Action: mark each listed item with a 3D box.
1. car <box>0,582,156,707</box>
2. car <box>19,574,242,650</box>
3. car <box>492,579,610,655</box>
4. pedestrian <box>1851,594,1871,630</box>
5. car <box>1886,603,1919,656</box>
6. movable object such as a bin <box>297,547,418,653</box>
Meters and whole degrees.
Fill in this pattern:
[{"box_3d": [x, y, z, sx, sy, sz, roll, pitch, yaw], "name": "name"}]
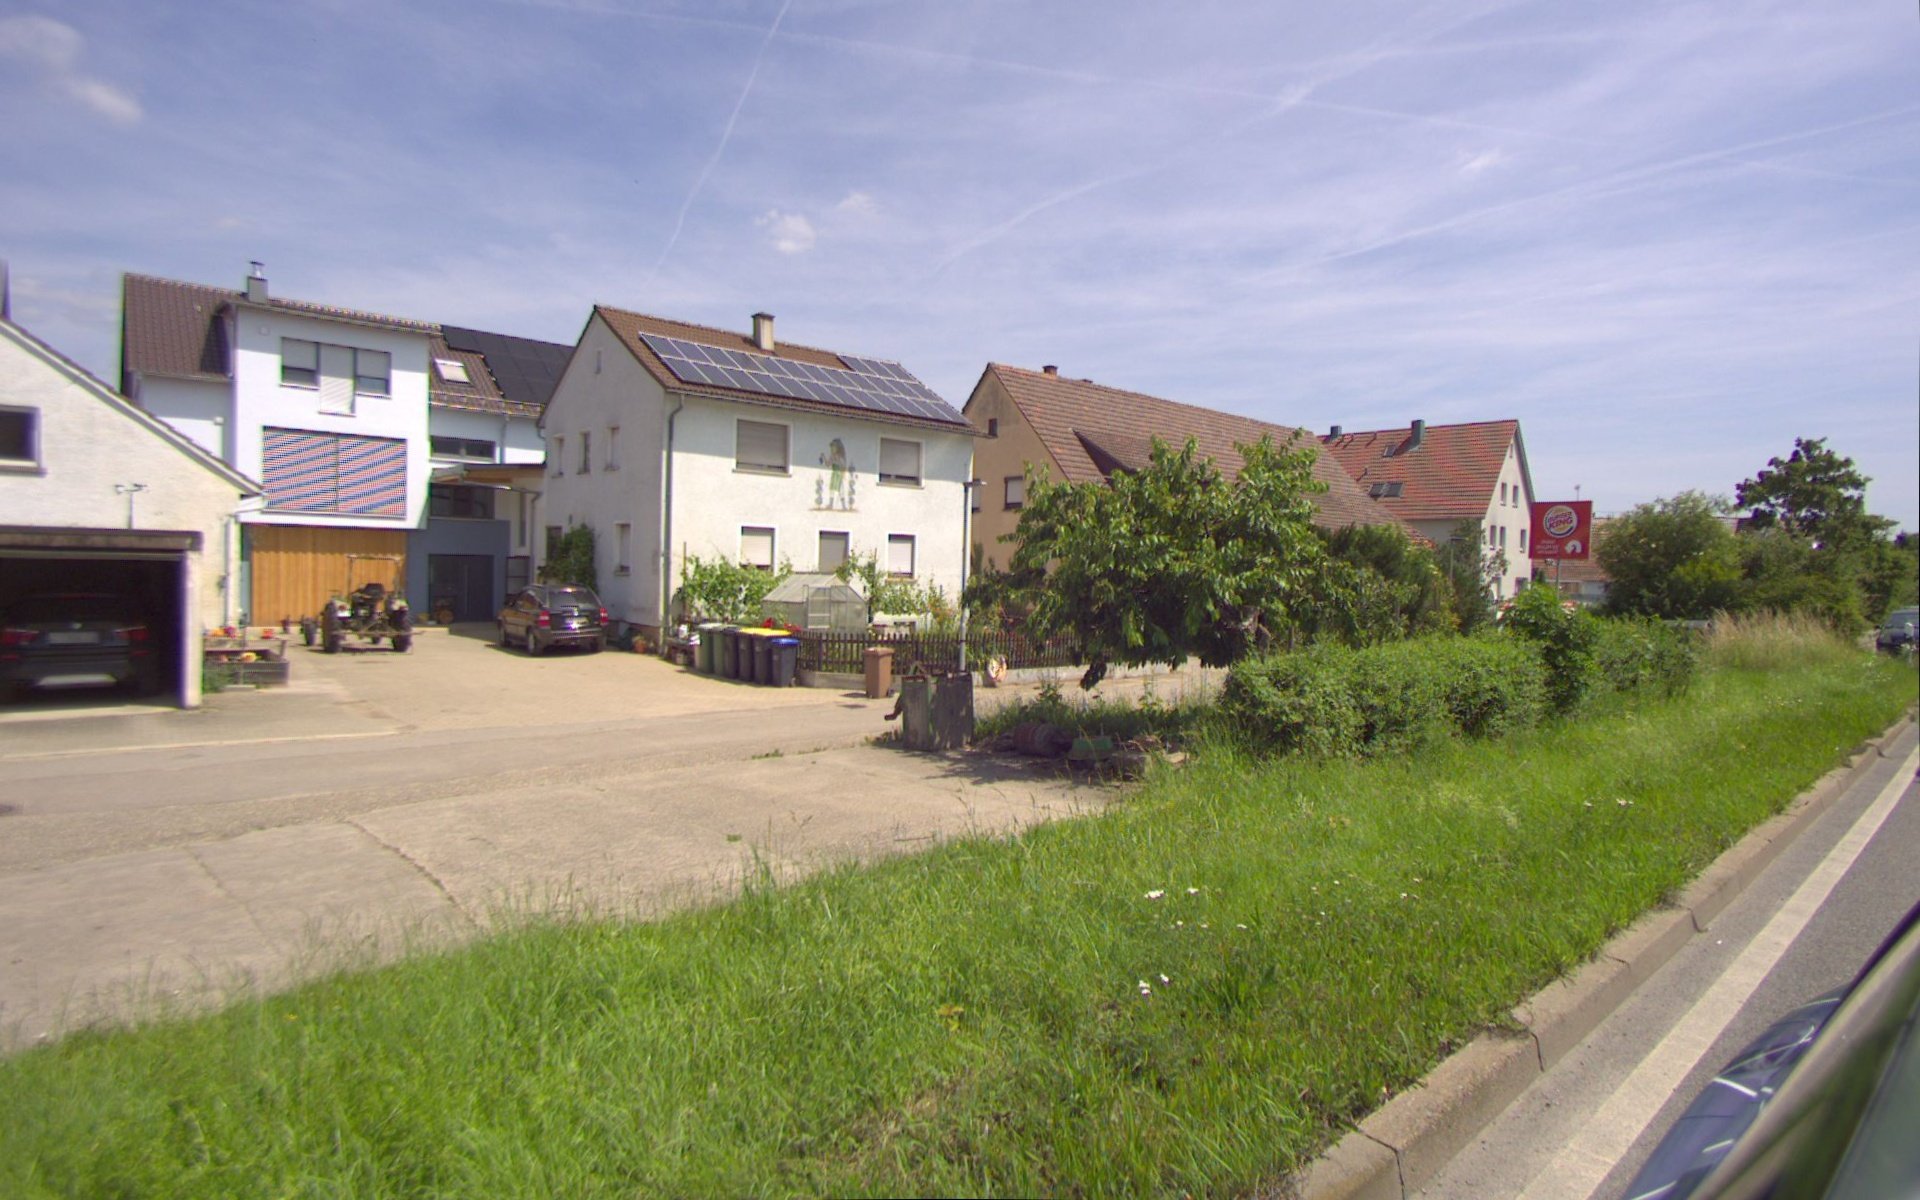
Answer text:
[{"box_3d": [-13.648, 0.569, 15.640, 1.802, 1.597, 3.995, -1, 2, -40], "name": "car"}, {"box_3d": [-19.352, 0.220, 23.764, 3.930, 1.638, 1.757, -1, 2, -41], "name": "car"}, {"box_3d": [-10.585, 0.365, 26.043, 1.811, 1.714, 3.959, -1, 3, -38], "name": "car"}, {"box_3d": [40.086, 0.520, 45.042, 0.517, 1.568, 0.557, 1, 1, 29], "name": "pedestrian"}, {"box_3d": [28.733, 0.844, 29.971, 3.493, 1.504, 1.633, 0, -2, -43], "name": "car"}, {"box_3d": [-14.721, -0.048, 24.645, 2.041, 2.372, 3.719, 2, 1, -38], "name": "movable object such as a bin"}]
